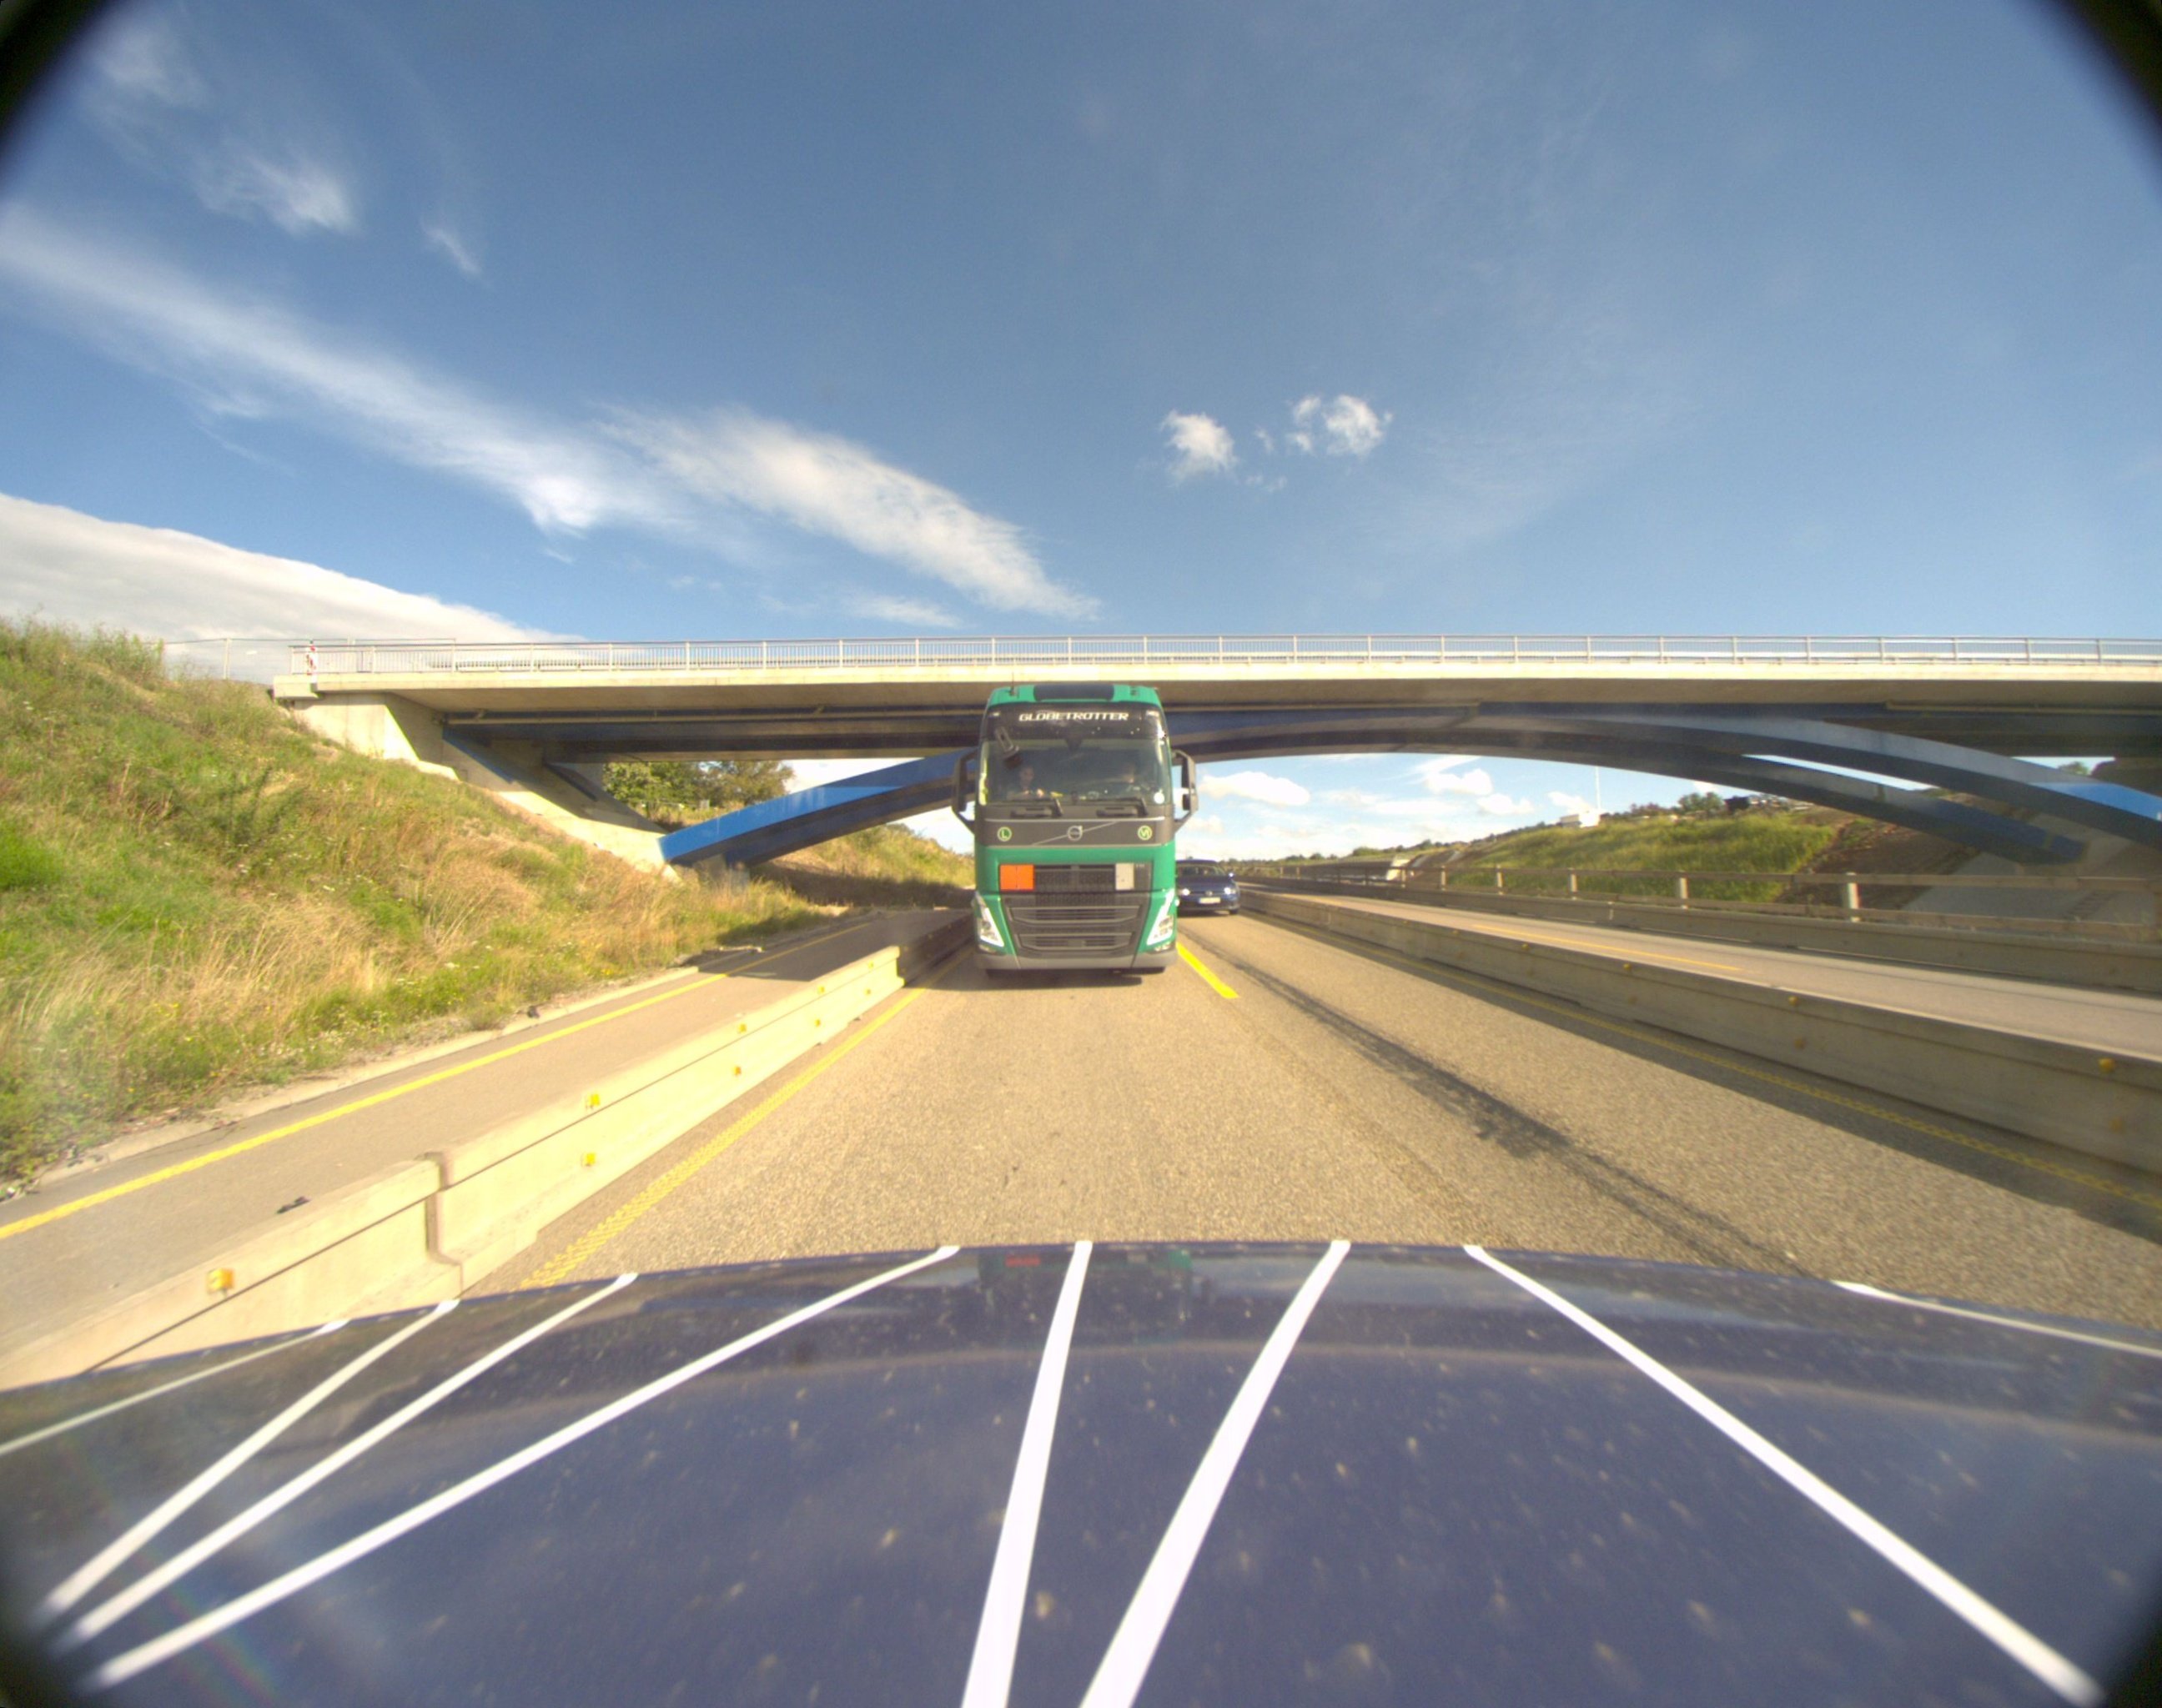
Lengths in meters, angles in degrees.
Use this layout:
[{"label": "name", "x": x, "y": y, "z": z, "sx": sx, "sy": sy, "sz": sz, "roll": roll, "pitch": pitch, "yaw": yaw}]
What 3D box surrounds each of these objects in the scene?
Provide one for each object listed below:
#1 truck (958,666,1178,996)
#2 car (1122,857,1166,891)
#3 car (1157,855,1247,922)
[{"label": "truck", "x": -0.231, "y": -0.284, "z": 13.227, "sx": 2.546, "sy": 3.899, "sz": 8.278, "roll": -1, "pitch": 0, "yaw": -1}, {"label": "car", "x": 3.006, "y": 0.924, "z": 37.206, "sx": 1.825, "sy": 1.487, "sz": 4.374, "roll": -2, "pitch": 0, "yaw": 1}, {"label": "car", "x": 3.078, "y": 0.826, "z": 20.050, "sx": 1.719, "sy": 1.499, "sz": 4.000, "roll": -2, "pitch": 0, "yaw": 0}]
